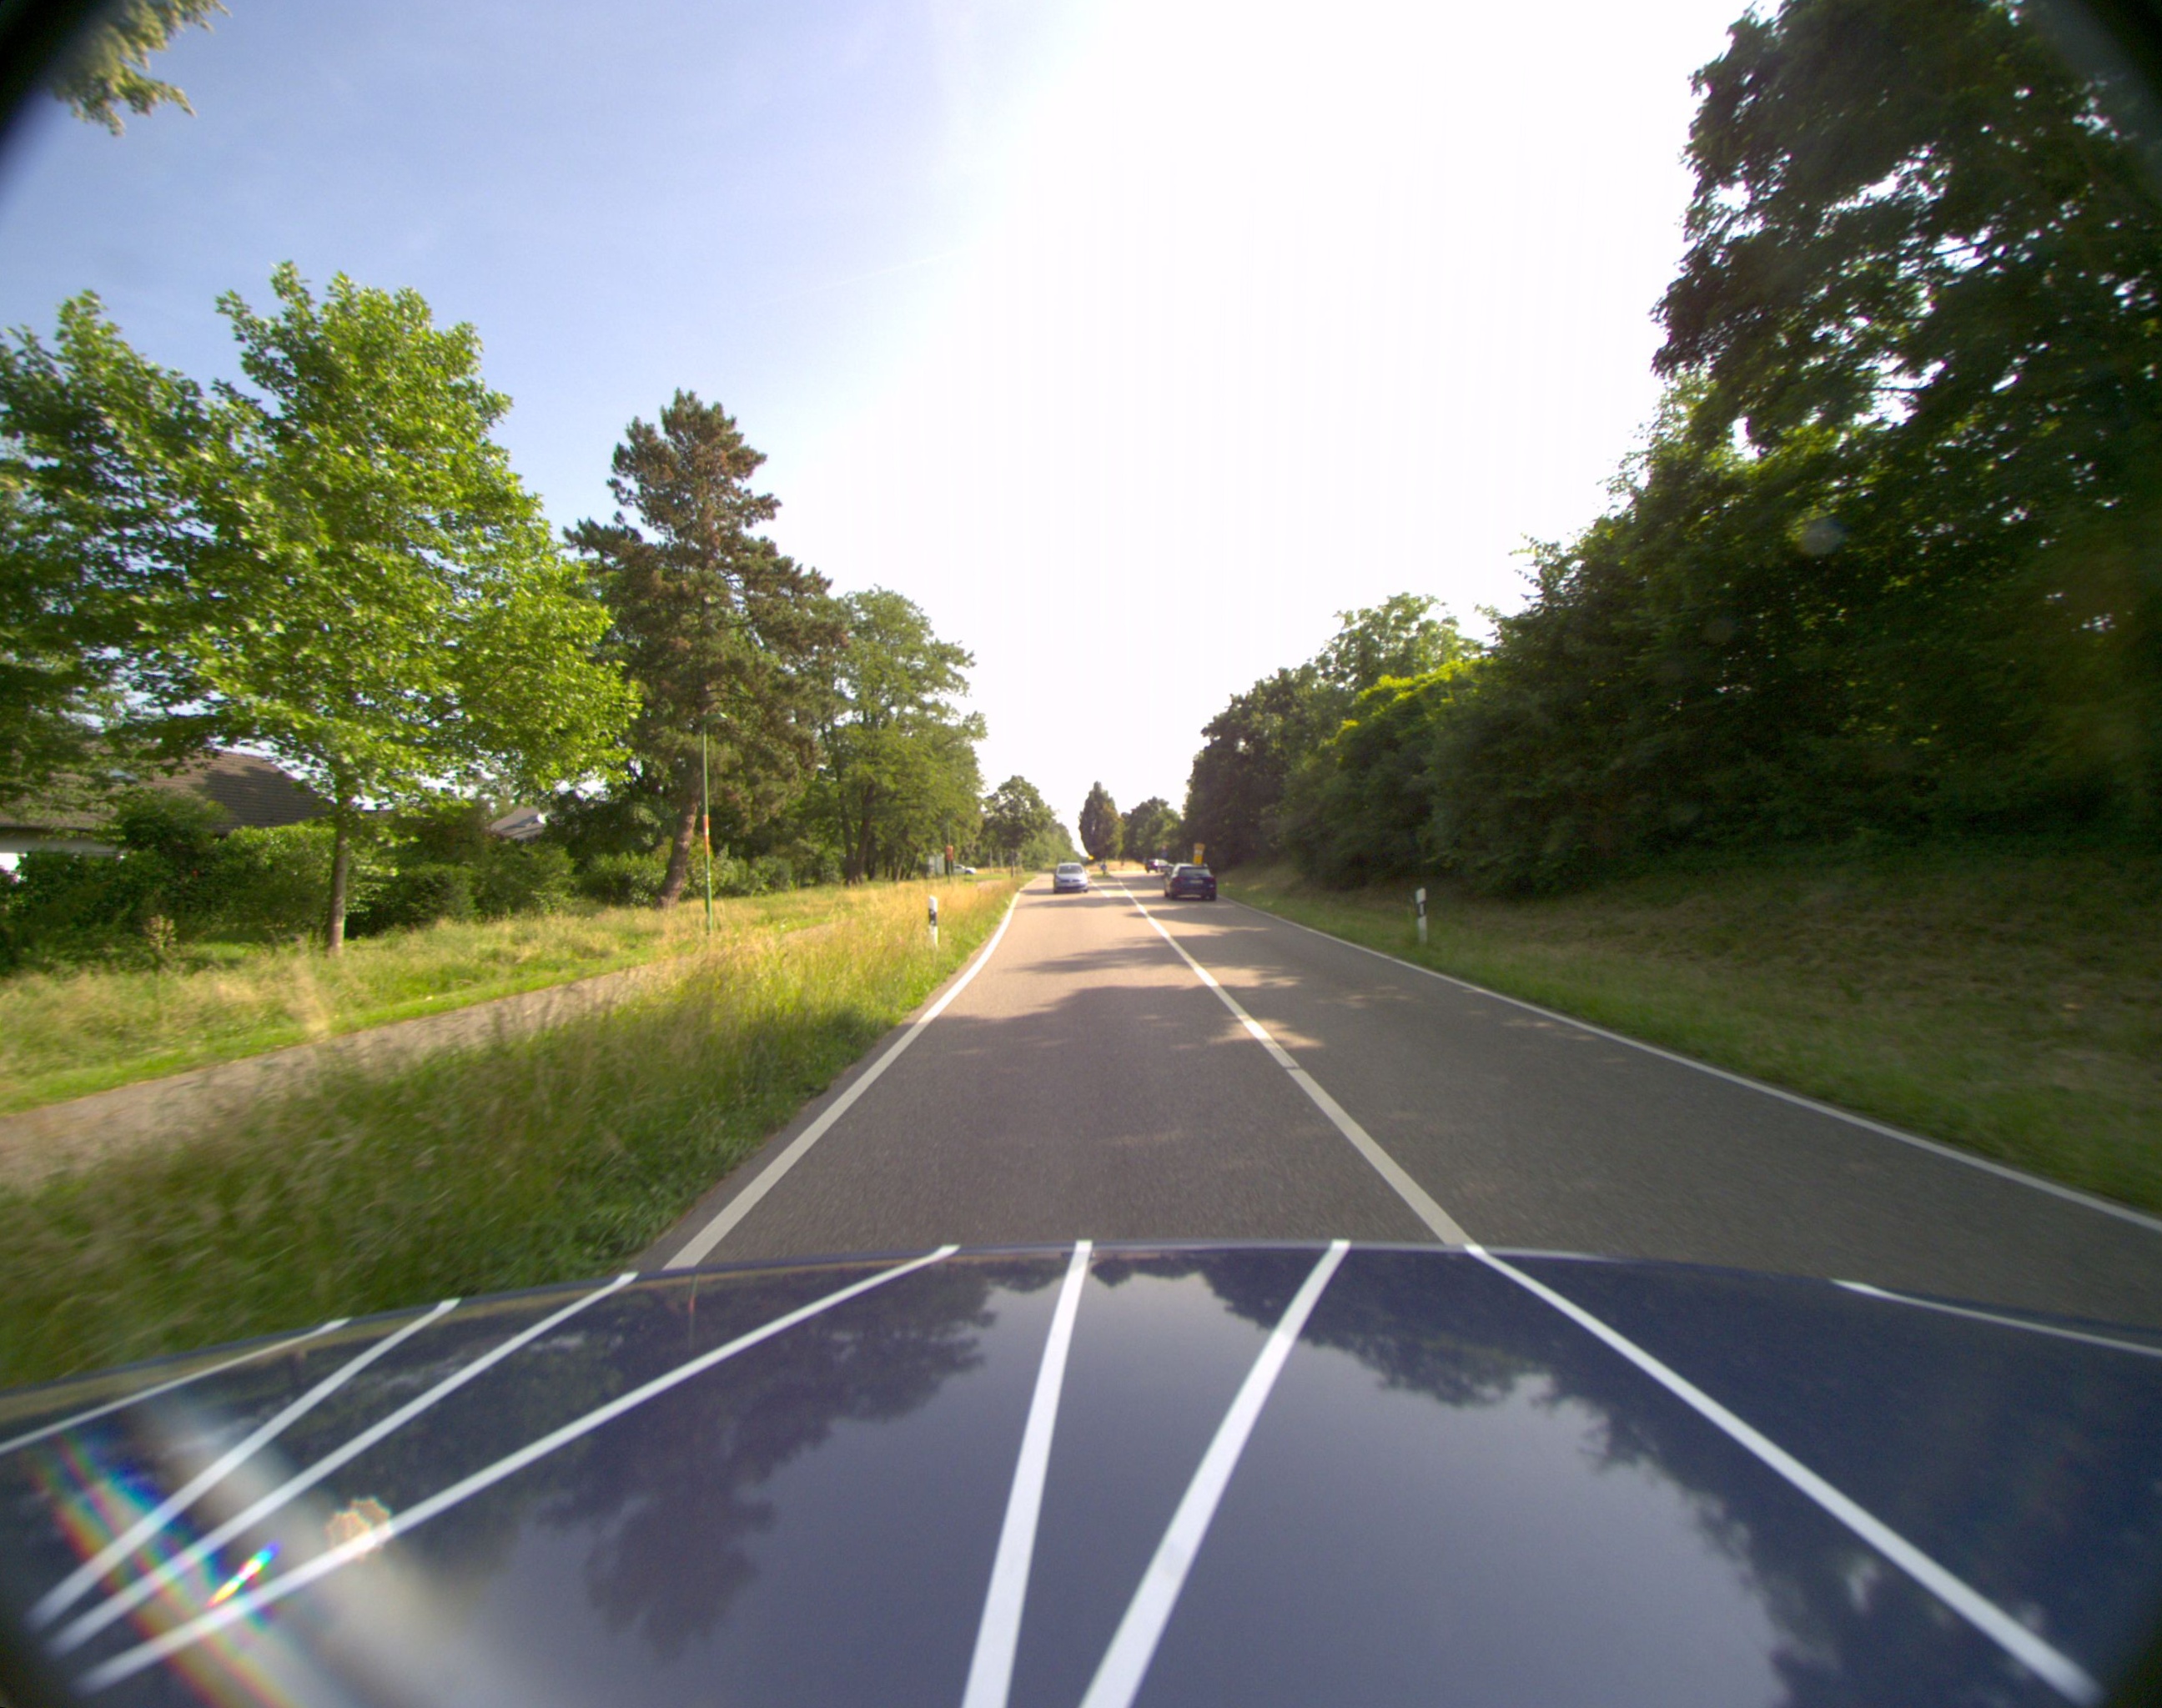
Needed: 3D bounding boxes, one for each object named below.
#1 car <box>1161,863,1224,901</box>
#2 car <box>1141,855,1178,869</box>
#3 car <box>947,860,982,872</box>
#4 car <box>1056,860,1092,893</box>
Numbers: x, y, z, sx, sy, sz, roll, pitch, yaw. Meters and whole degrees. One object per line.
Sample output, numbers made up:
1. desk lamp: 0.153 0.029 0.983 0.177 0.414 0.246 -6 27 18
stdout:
1. car: 4.465 1.093 31.144 1.875 1.415 4.577 1 0 0
2. car: 10.094 1.016 97.093 4.630 1.592 1.948 -1 0 -39
3. car: -14.664 1.511 95.564 3.996 1.477 2.001 -1 0 4
4. car: -0.338 1.136 40.255 1.808 1.592 4.269 -1 0 0
